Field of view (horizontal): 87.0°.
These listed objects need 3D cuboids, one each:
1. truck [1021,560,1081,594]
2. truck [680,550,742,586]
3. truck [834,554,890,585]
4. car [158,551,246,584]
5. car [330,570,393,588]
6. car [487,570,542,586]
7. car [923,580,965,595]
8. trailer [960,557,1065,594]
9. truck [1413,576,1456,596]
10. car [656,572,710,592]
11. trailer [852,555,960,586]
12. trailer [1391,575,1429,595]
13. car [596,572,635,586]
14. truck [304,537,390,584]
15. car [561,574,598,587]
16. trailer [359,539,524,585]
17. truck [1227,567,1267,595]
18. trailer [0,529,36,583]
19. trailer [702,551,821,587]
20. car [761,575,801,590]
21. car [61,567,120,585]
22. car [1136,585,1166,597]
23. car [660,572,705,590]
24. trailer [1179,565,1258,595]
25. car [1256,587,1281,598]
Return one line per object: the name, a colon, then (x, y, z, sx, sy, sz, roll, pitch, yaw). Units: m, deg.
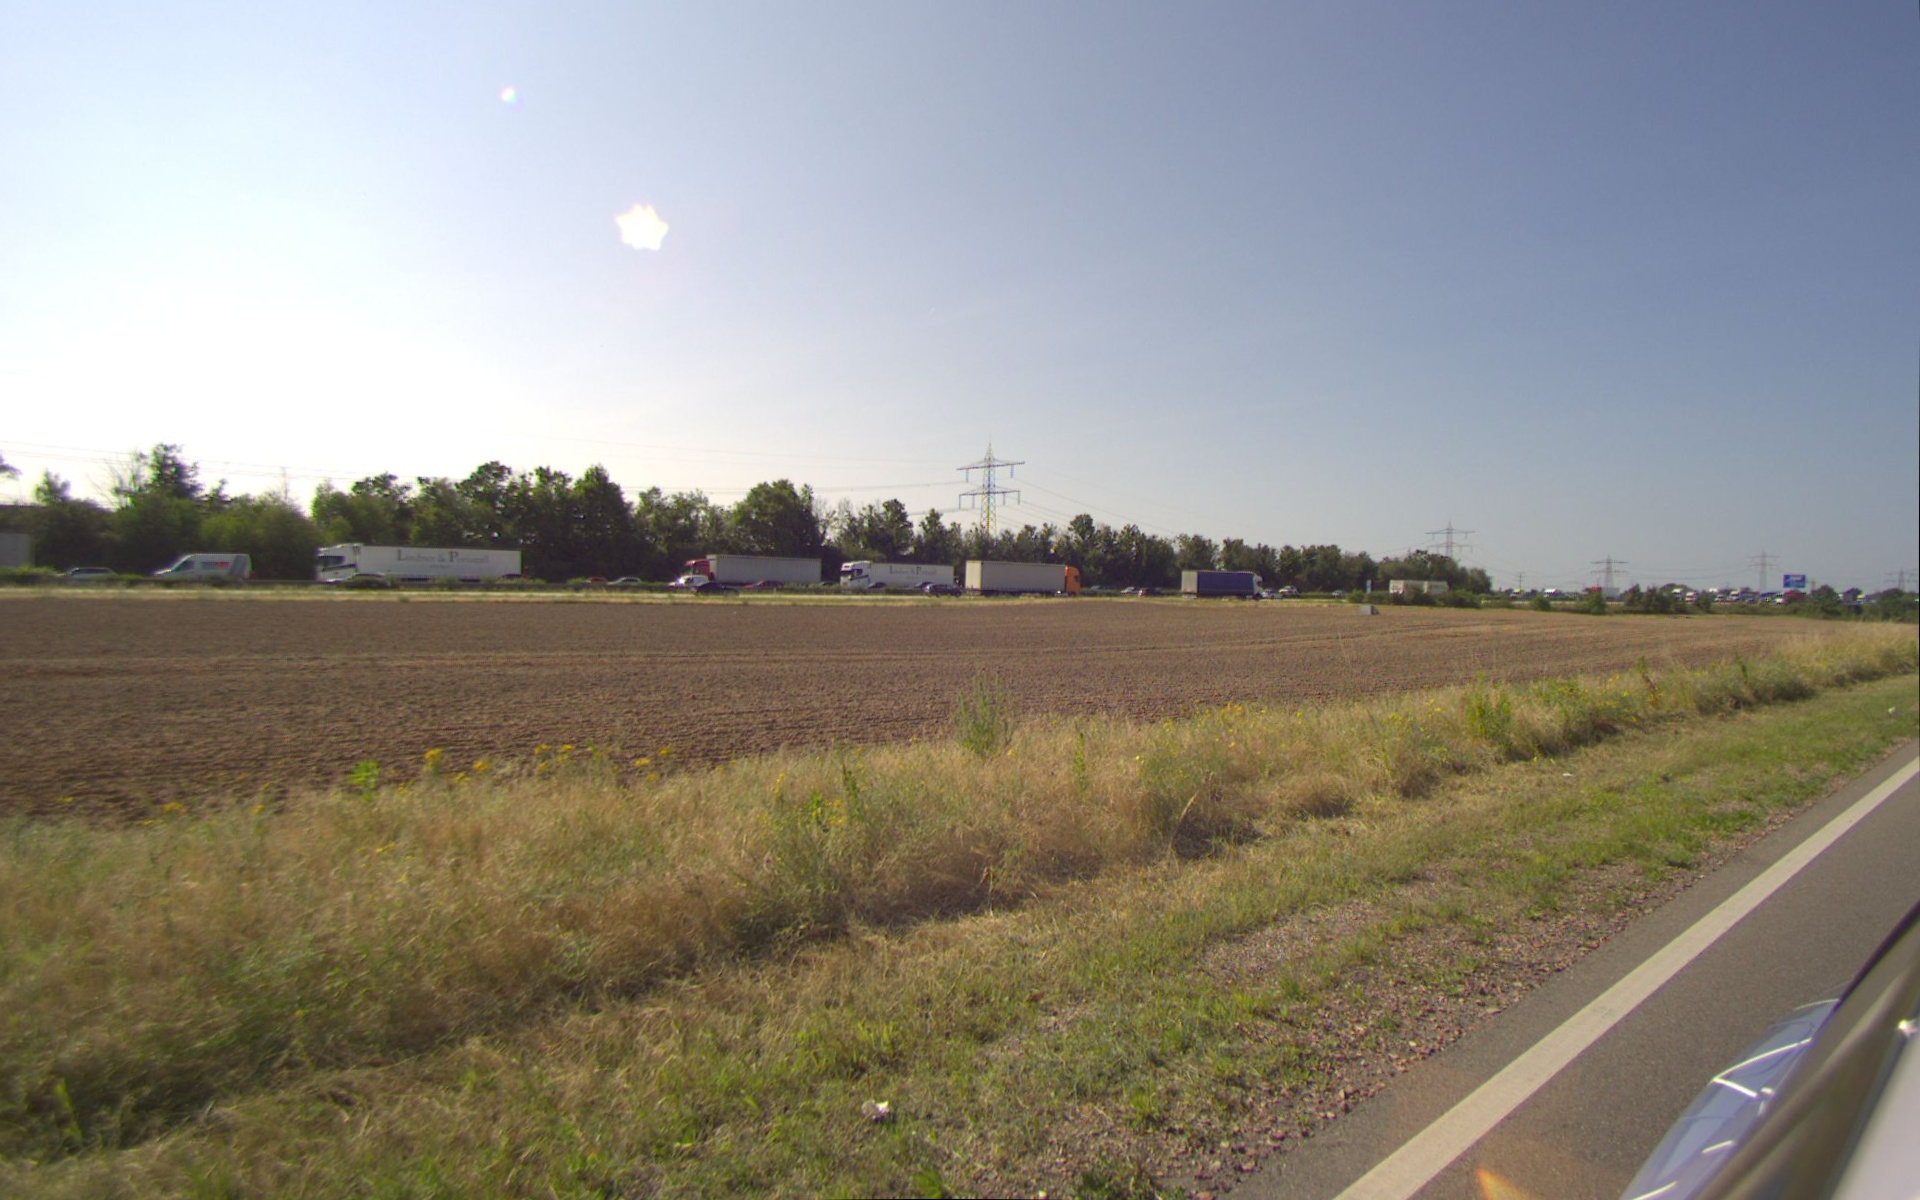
truck: (10.726, -2.686, 119.026, 6.828, 3.898, 3.109, 0, 0, -40)
truck: (-27.102, -3.416, 110.188, 5.766, 3.780, 2.951, 0, 0, -41)
truck: (-11.878, -3.706, 123.155, 6.002, 3.575, 3.209, 0, 2, -41)
car: (-56.919, -2.414, 76.055, 5.146, 2.228, 1.908, 1, -1, -41)
car: (-49.424, -1.717, 83.611, 4.173, 1.403, 1.853, 1, -1, -41)
car: (-40.416, -1.975, 91.796, 4.173, 1.403, 1.853, 1, -1, -41)
car: (-1.785, -1.411, 113.037, 4.392, 1.633, 1.910, 0, -1, -39)
trailer: (6.079, -2.713, 115.007, 13.476, 3.897, 3.109, 0, 0, -41)
truck: (85.847, -2.520, 182.961, 10.927, 3.521, 2.811, 0, 1, -41)
car: (-24.051, -1.554, 87.948, 4.122, 1.563, 1.706, 2, -2, -41)
trailer: (-6.607, -3.685, 127.795, 14.820, 3.575, 3.209, 0, 2, -41)
trailer: (78.546, -2.572, 176.541, 8.566, 3.458, 2.798, 0, 1, -41)
car: (-33.033, -1.987, 97.082, 3.236, 1.300, 1.342, 0, -1, -43)
truck: (-53.055, -3.355, 87.611, 6.008, 3.780, 3.078, 0, 0, -40)
car: (-38.067, -1.926, 101.355, 3.235, 1.234, 1.342, 0, -1, -42)
trailer: (-47.173, -3.341, 92.522, 13.127, 3.780, 3.078, 0, 1, -40)
truck: (40.965, -2.723, 144.369, 5.515, 3.850, 3.076, 0, 0, -42)
trailer: (-73.054, -3.280, 69.898, 13.383, 3.781, 3.079, 2, 0, -39)
trailer: (-22.280, -3.415, 114.404, 13.540, 3.780, 2.951, 0, 0, -41)
car: (-19.210, -1.837, 108.671, 4.022, 1.528, 1.706, 0, -1, -41)
car: (-61.448, -1.688, 71.562, 3.125, 1.166, 1.397, 1, -1, -41)
car: (25.933, -1.192, 137.293, 3.825, 1.595, 1.997, 0, -1, -40)
car: (-27.794, -1.893, 101.507, 4.023, 1.659, 1.705, 0, -1, -41)
trailer: (35.844, -2.730, 139.749, 14.341, 3.850, 3.076, 0, 0, -42)
car: (47.690, -1.153, 156.360, 4.126, 1.595, 1.688, 0, -1, -40)
